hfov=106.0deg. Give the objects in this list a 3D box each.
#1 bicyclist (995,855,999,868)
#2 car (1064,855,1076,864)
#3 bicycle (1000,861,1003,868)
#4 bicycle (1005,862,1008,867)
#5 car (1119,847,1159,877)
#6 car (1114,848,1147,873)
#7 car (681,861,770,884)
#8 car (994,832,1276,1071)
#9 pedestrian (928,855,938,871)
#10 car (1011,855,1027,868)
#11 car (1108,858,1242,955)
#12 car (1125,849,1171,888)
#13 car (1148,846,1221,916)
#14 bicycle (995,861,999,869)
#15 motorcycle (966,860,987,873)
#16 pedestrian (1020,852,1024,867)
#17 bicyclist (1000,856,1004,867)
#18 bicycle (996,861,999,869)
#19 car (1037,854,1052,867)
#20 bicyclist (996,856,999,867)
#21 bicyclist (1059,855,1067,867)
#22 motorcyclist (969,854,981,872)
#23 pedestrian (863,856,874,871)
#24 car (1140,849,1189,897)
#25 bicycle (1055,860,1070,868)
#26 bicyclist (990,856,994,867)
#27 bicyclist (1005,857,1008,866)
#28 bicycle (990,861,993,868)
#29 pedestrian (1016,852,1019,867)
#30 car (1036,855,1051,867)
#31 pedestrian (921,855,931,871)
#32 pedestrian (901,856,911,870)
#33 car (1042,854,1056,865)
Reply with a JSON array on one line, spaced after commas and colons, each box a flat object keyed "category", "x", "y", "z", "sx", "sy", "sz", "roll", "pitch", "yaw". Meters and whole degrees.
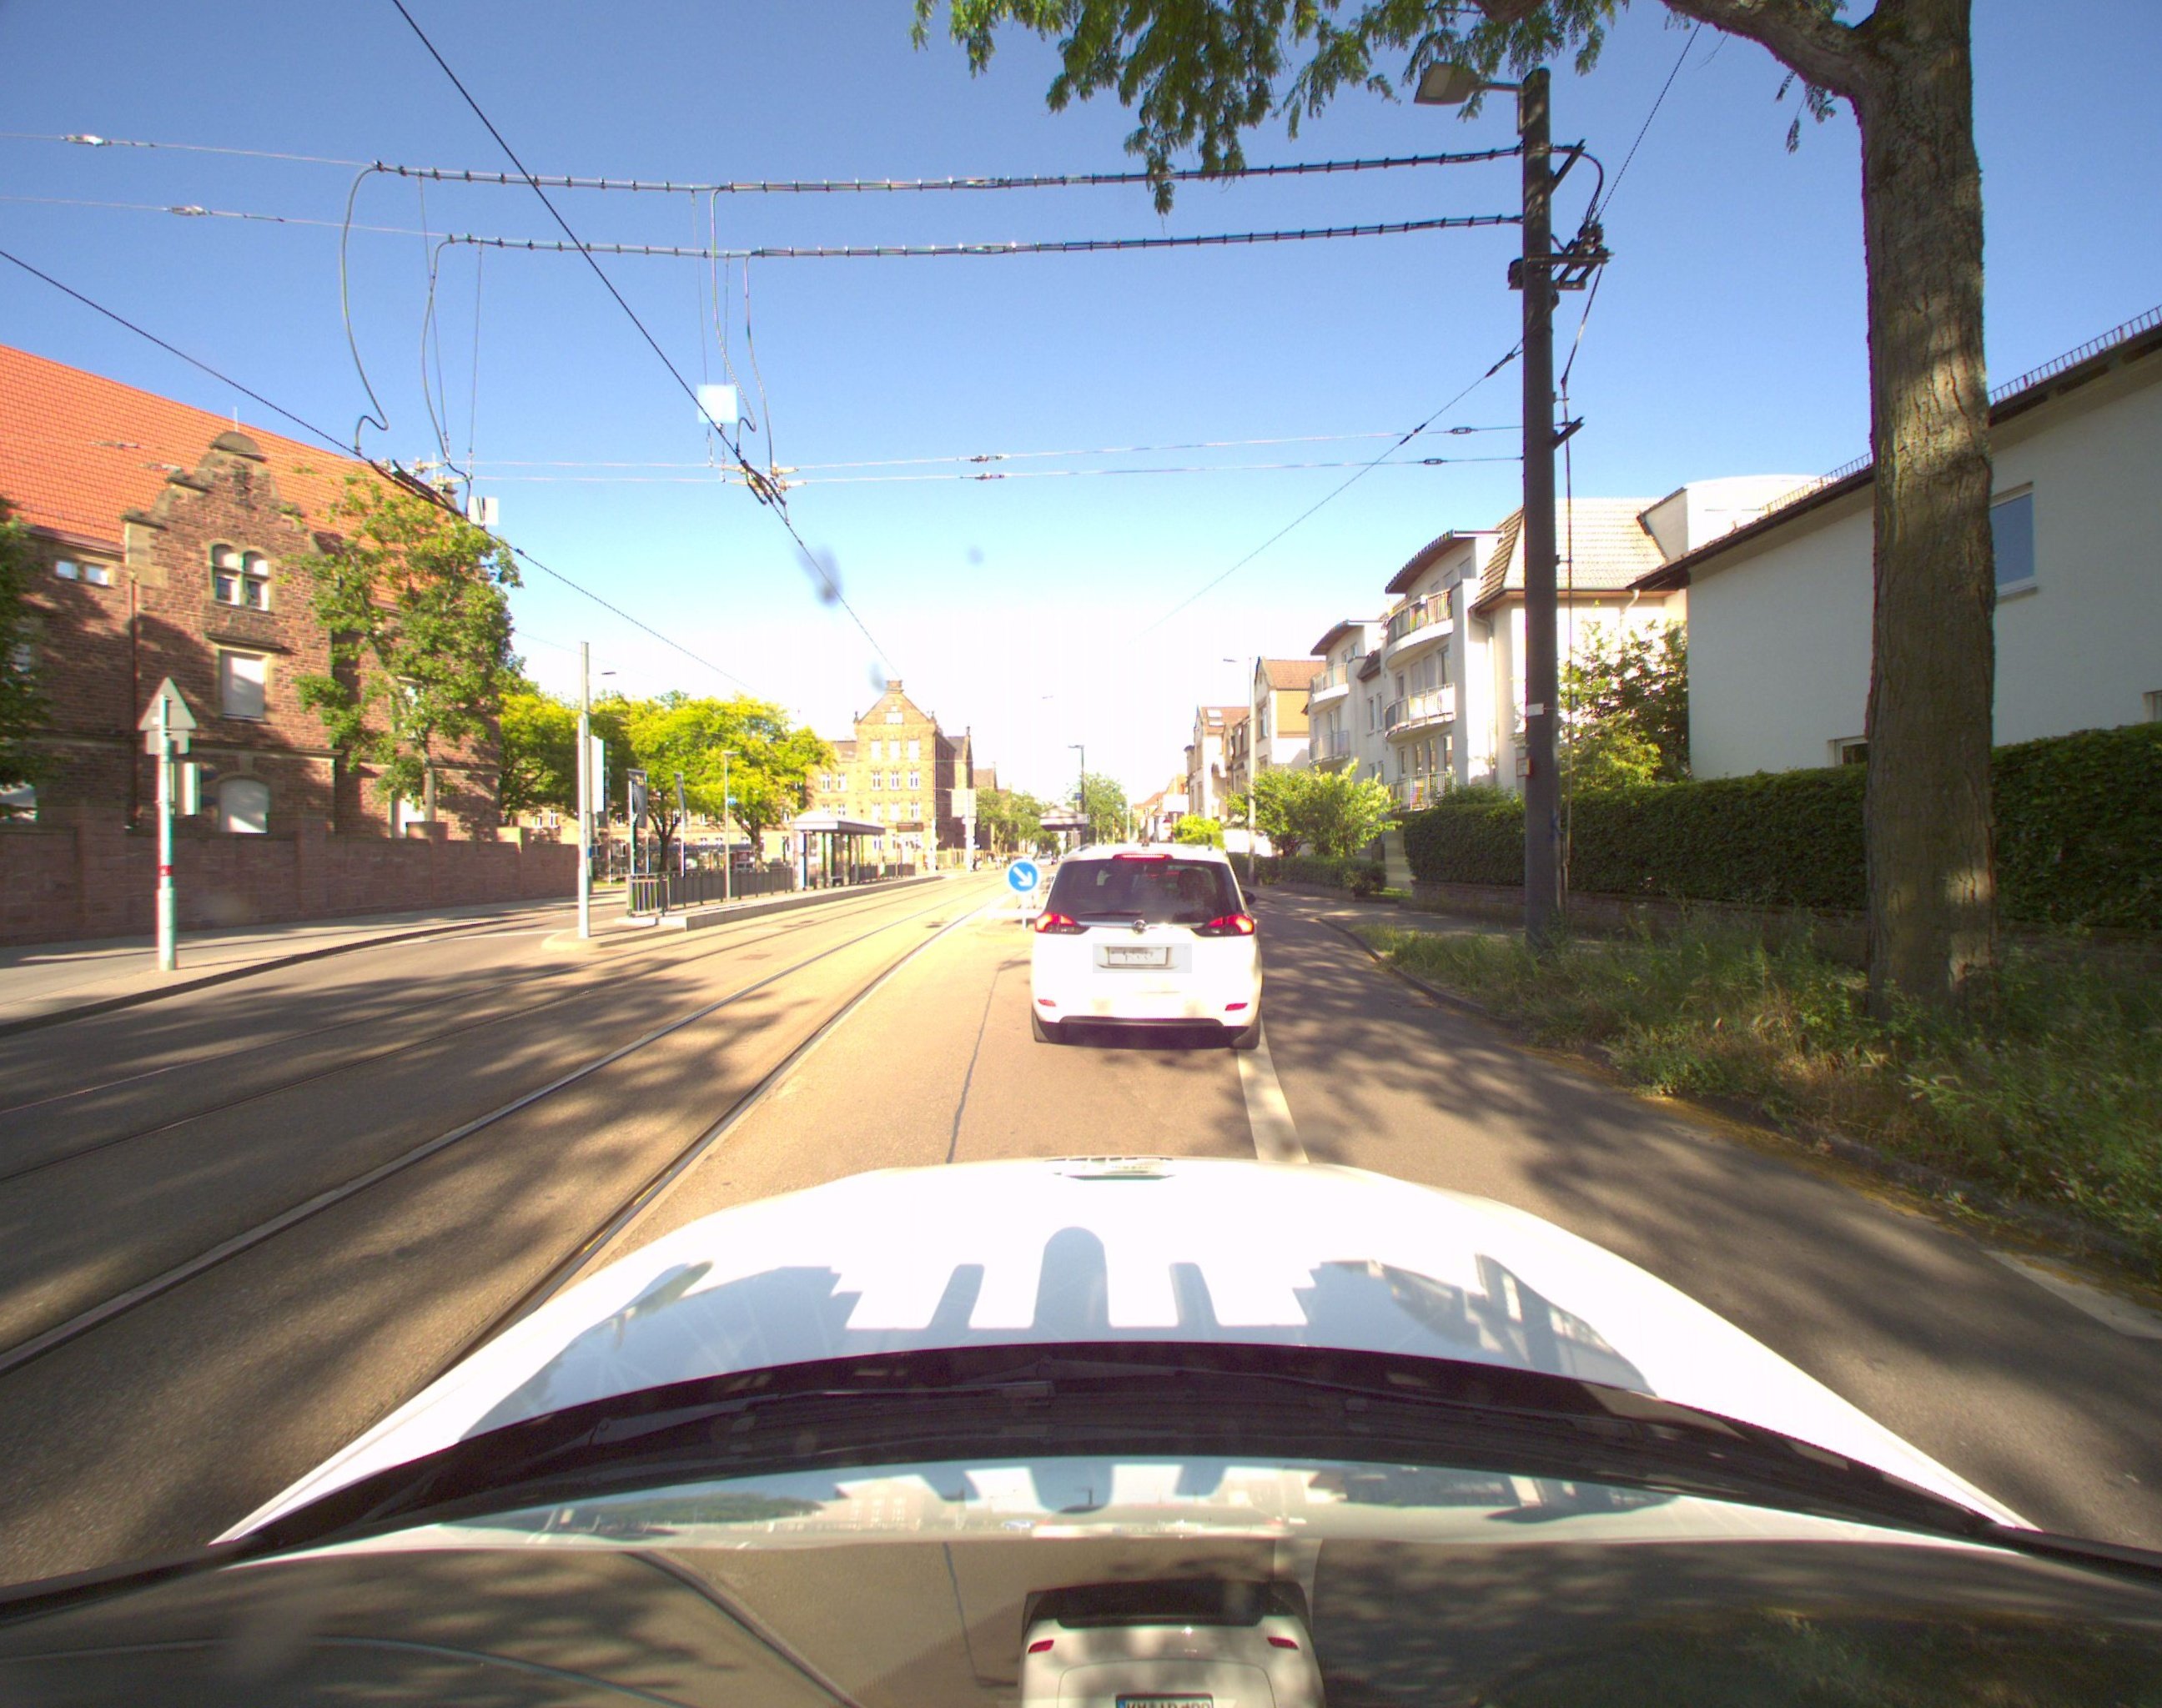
[{"category": "bicyclist", "x": -10.696, "y": 0.950, "z": 103.746, "sx": 0.443, "sy": 1.553, "sz": 0.742, "roll": -1, "pitch": 0, "yaw": -2}, {"category": "car", "x": -1.930, "y": 0.934, "z": 143.656, "sx": 1.988, "sy": 1.629, "sz": 3.998, "roll": -1, "pitch": 0, "yaw": -1}, {"category": "bicycle", "x": -10.650, "y": 1.466, "z": 109.621, "sx": 0.343, "sy": 0.950, "sz": 0.996, "roll": 0, "pitch": -1, "yaw": -1}, {"category": "bicycle", "x": -10.194, "y": 1.466, "z": 112.115, "sx": 0.343, "sy": 0.725, "sz": 0.996, "roll": 0, "pitch": -1, "yaw": -1}, {"category": "car", "x": 3.135, "y": 0.415, "z": 44.388, "sx": 1.986, "sy": 1.503, "sz": 4.002, "roll": -1, "pitch": 0, "yaw": 2}, {"category": "car", "x": 3.110, "y": 0.386, "z": 51.855, "sx": 1.986, "sy": 1.503, "sz": 4.002, "roll": -1, "pitch": 0, "yaw": 2}, {"category": "car", "x": -32.950, "y": 1.701, "z": 75.714, "sx": 6.926, "sy": 1.921, "sz": 2.992, "roll": -1, "pitch": 0, "yaw": 0}, {"category": "car", "x": 0.650, "y": 0.684, "z": 7.715, "sx": 1.982, "sy": 1.644, "sz": 4.003, "roll": 0, "pitch": 0, "yaw": 8}, {"category": "pedestrian", "x": -16.051, "y": 0.971, "z": 88.148, "sx": 0.892, "sy": 1.684, "sz": 1.029, "roll": 0, "pitch": -1, "yaw": 1}, {"category": "car", "x": -8.180, "y": 0.926, "z": 107.492, "sx": 1.989, "sy": 1.629, "sz": 3.996, "roll": -1, "pitch": 0, "yaw": -3}, {"category": "car", "x": 1.538, "y": 0.791, "z": 14.077, "sx": 1.944, "sy": 1.397, "sz": 4.005, "roll": -1, "pitch": 0, "yaw": 4}, {"category": "car", "x": 2.938, "y": 0.611, "z": 36.262, "sx": 1.824, "sy": 1.579, "sz": 4.012, "roll": -1, "pitch": 0, "yaw": 2}, {"category": "car", "x": 2.580, "y": 0.638, "z": 20.906, "sx": 1.630, "sy": 1.601, "sz": 3.859, "roll": -1, "pitch": 0, "yaw": 4}, {"category": "bicycle", "x": -10.704, "y": 1.417, "z": 103.536, "sx": 0.343, "sy": 0.950, "sz": 1.160, "roll": 0, "pitch": -1, "yaw": -1}, {"category": "motorcycle", "x": -9.693, "y": 1.155, "z": 75.716, "sx": 0.605, "sy": 1.198, "sz": 2.088, "roll": -1, "pitch": 0, "yaw": 40}, {"category": "pedestrian", "x": -8.133, "y": 0.775, "z": 112.665, "sx": 0.443, "sy": 2.013, "sz": 0.495, "roll": -1, "pitch": 0, "yaw": -2}, {"category": "bicyclist", "x": -10.651, "y": 0.999, "z": 109.616, "sx": 0.443, "sy": 1.553, "sz": 0.495, "roll": -1, "pitch": 0, "yaw": -2}, {"category": "bicycle", "x": -10.992, "y": 1.448, "z": 107.078, "sx": 0.343, "sy": 0.950, "sz": 0.996, "roll": 0, "pitch": -1, "yaw": -1}, {"category": "car", "x": -4.804, "y": 0.894, "z": 107.634, "sx": 1.989, "sy": 1.629, "sz": 3.996, "roll": -1, "pitch": 0, "yaw": -3}, {"category": "bicyclist", "x": -10.968, "y": 0.980, "z": 107.037, "sx": 0.443, "sy": 1.553, "sz": 0.495, "roll": -1, "pitch": 0, "yaw": -2}, {"category": "bicyclist", "x": -2.067, "y": 0.802, "z": 93.607, "sx": 0.754, "sy": 1.430, "sz": 0.517, "roll": -1, "pitch": -1, "yaw": 8}, {"category": "motorcyclist", "x": -9.818, "y": 0.856, "z": 75.577, "sx": 0.607, "sy": 1.621, "sz": 0.850, "roll": -1, "pitch": 0, "yaw": 41}, {"category": "pedestrian", "x": -23.256, "y": 1.011, "z": 89.189, "sx": 0.929, "sy": 1.588, "sz": 0.804, "roll": 0, "pitch": -1, "yaw": -2}, {"category": "car", "x": 2.951, "y": 0.635, "z": 29.332, "sx": 1.630, "sy": 1.601, "sz": 3.859, "roll": -1, "pitch": 0, "yaw": 4}, {"category": "bicycle", "x": -2.116, "y": 1.148, "z": 93.613, "sx": 1.661, "sy": 0.953, "sz": 0.530, "roll": -1, "pitch": 0, "yaw": 8}, {"category": "bicyclist", "x": -12.673, "y": 1.061, "z": 115.615, "sx": 0.443, "sy": 1.553, "sz": 0.495, "roll": -1, "pitch": 0, "yaw": -2}, {"category": "bicyclist", "x": -10.203, "y": 1.001, "z": 112.114, "sx": 0.358, "sy": 1.303, "sz": 0.397, "roll": -1, "pitch": 0, "yaw": -2}, {"category": "bicycle", "x": -12.666, "y": 1.529, "z": 115.649, "sx": 0.343, "sy": 0.950, "sz": 0.996, "roll": 0, "pitch": -1, "yaw": -1}, {"category": "pedestrian", "x": -8.758, "y": 0.777, "z": 112.362, "sx": 0.443, "sy": 2.013, "sz": 0.495, "roll": -1, "pitch": 0, "yaw": -2}, {"category": "car", "x": -5.285, "y": 0.955, "z": 114.757, "sx": 1.989, "sy": 1.629, "sz": 3.996, "roll": -1, "pitch": 0, "yaw": -3}, {"category": "pedestrian", "x": -17.007, "y": 0.993, "z": 89.153, "sx": 0.839, "sy": 1.691, "sz": 1.029, "roll": 0, "pitch": -1, "yaw": 1}, {"category": "pedestrian", "x": -19.095, "y": 0.977, "z": 88.839, "sx": 0.799, "sy": 1.588, "sz": 0.934, "roll": 0, "pitch": -1, "yaw": -1}, {"category": "car", "x": -5.119, "y": 0.911, "z": 131.003, "sx": 1.987, "sy": 1.629, "sz": 4.000, "roll": -1, "pitch": 0, "yaw": 0}]
